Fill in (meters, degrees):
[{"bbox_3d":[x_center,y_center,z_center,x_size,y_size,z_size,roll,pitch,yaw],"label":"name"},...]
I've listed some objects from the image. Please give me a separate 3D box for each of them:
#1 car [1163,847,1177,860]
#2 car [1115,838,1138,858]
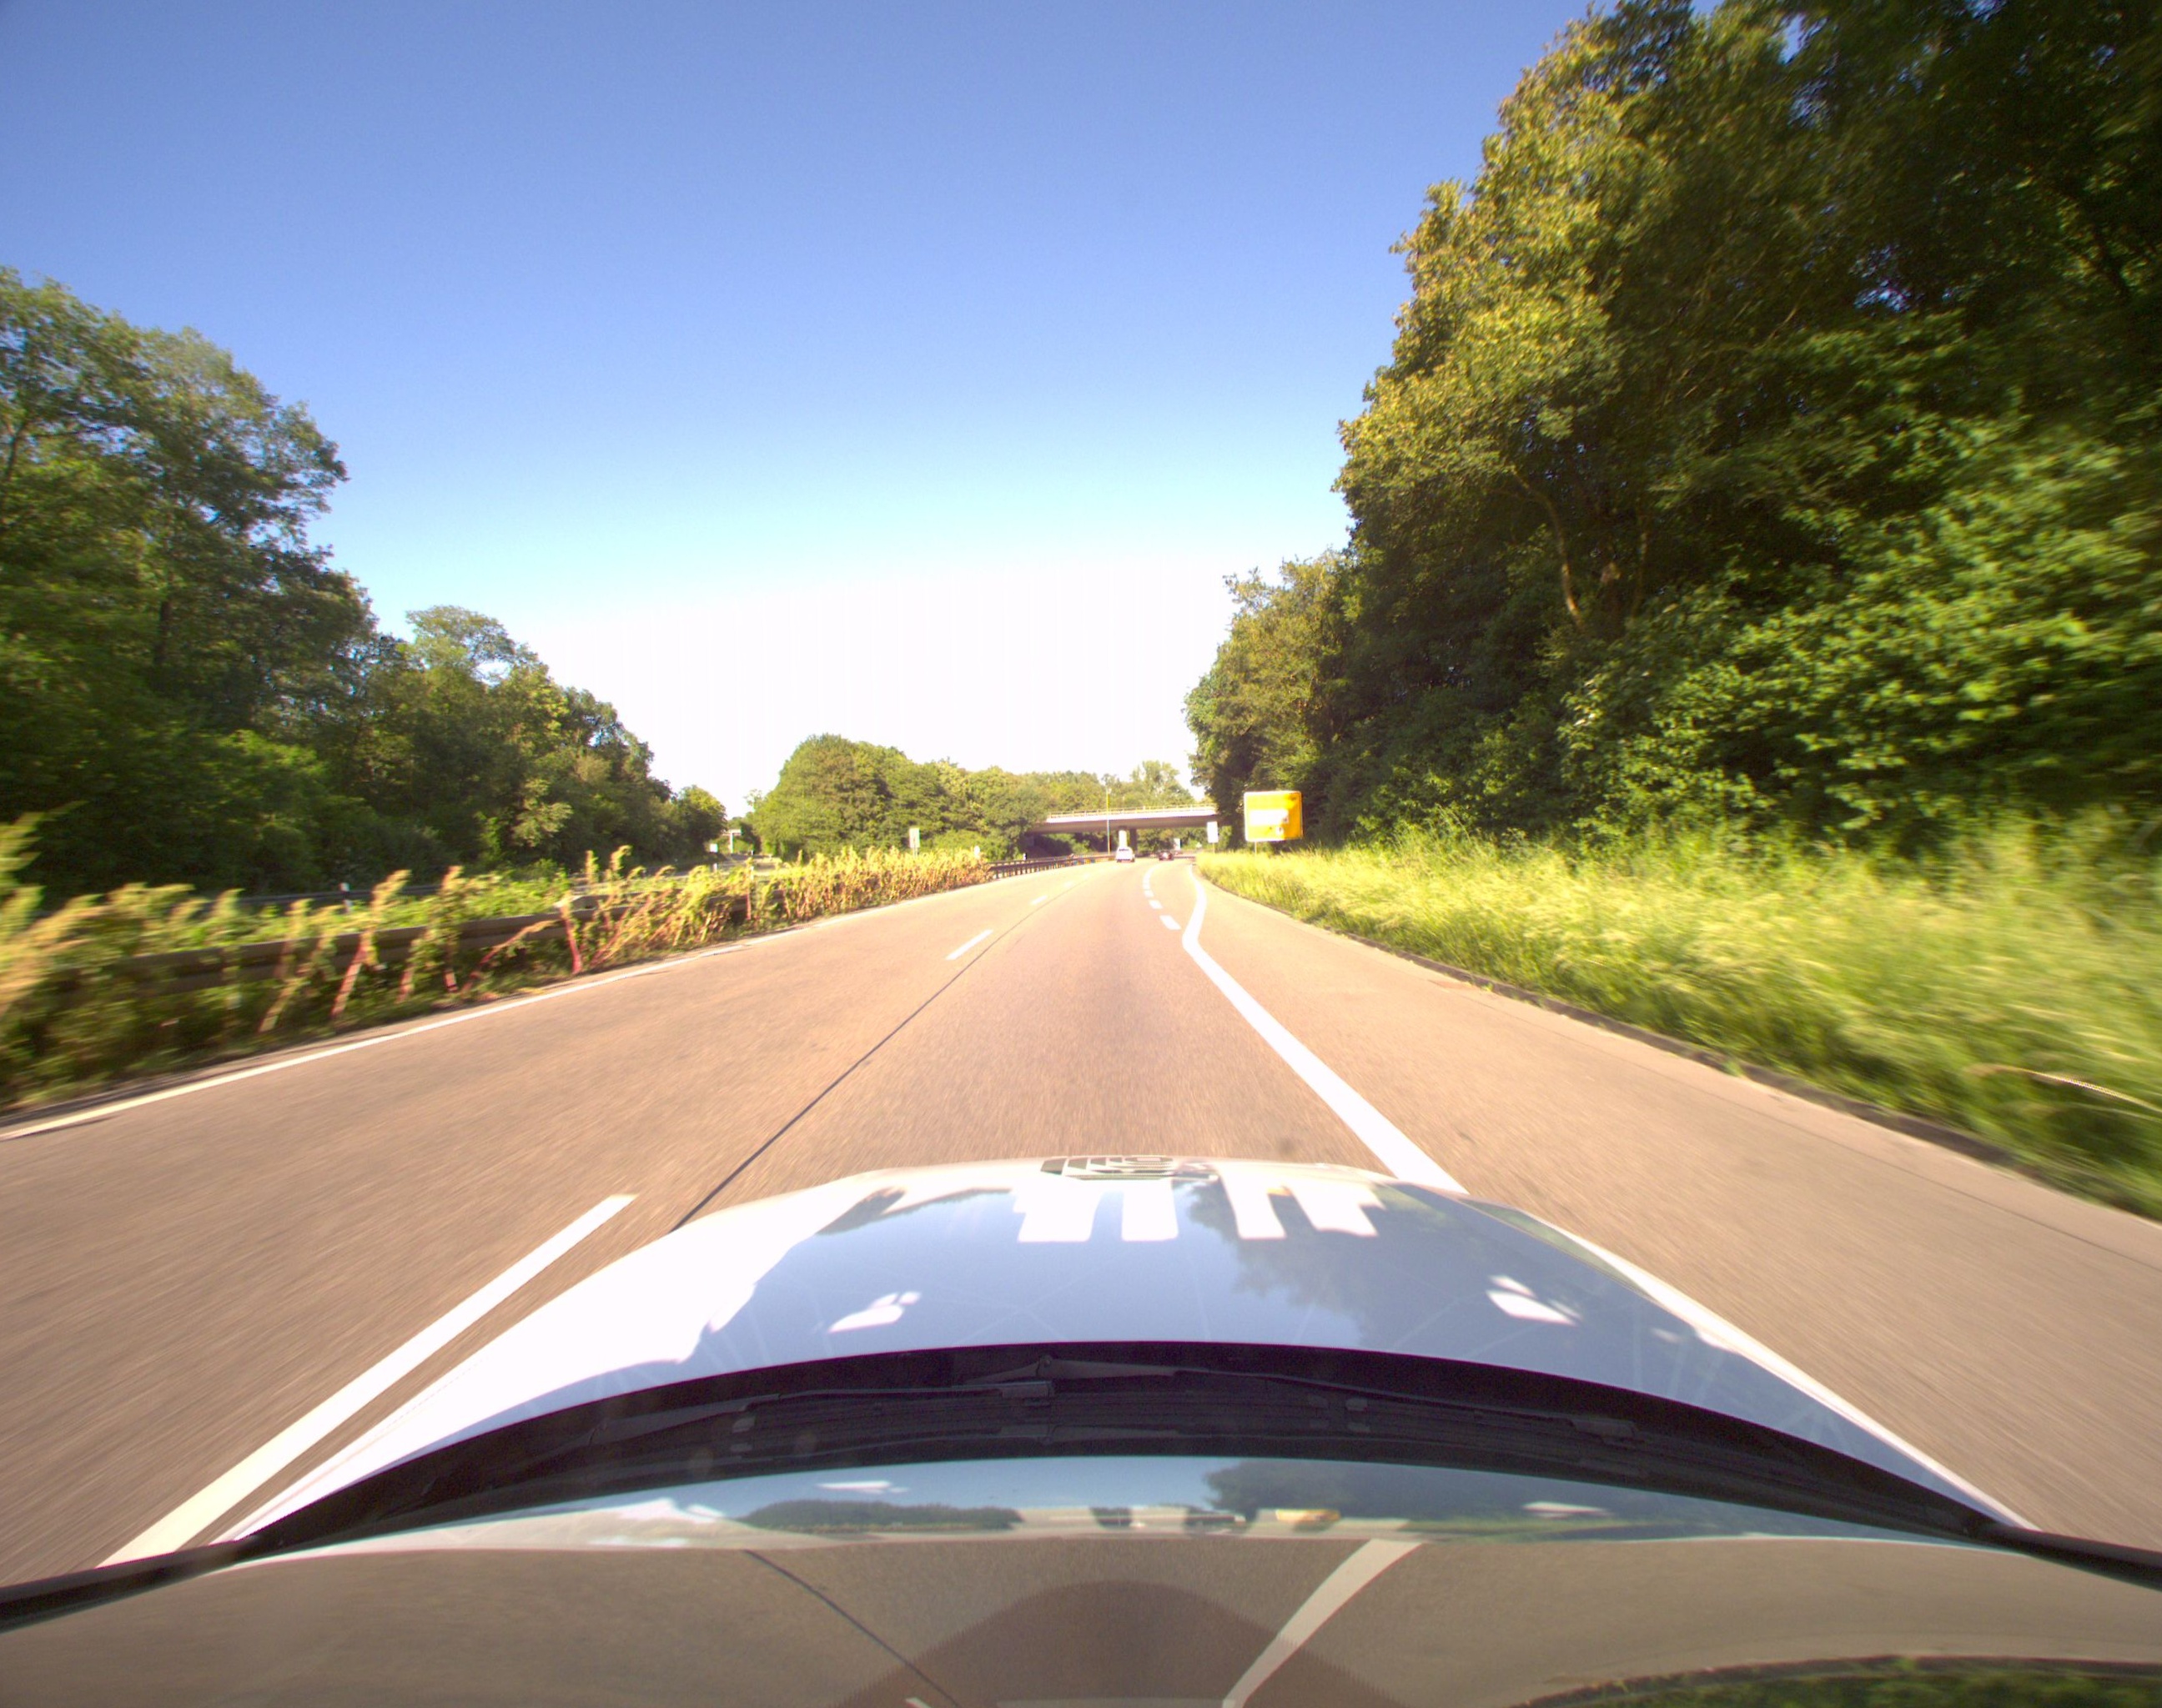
[{"bbox_3d":[12.048,-0.044,110.230,1.729,1.662,3.954,-1,0,8],"label":"car"},{"bbox_3d":[5.332,-0.701,95.575,1.980,2.277,4.014,-1,0,13],"label":"car"}]
